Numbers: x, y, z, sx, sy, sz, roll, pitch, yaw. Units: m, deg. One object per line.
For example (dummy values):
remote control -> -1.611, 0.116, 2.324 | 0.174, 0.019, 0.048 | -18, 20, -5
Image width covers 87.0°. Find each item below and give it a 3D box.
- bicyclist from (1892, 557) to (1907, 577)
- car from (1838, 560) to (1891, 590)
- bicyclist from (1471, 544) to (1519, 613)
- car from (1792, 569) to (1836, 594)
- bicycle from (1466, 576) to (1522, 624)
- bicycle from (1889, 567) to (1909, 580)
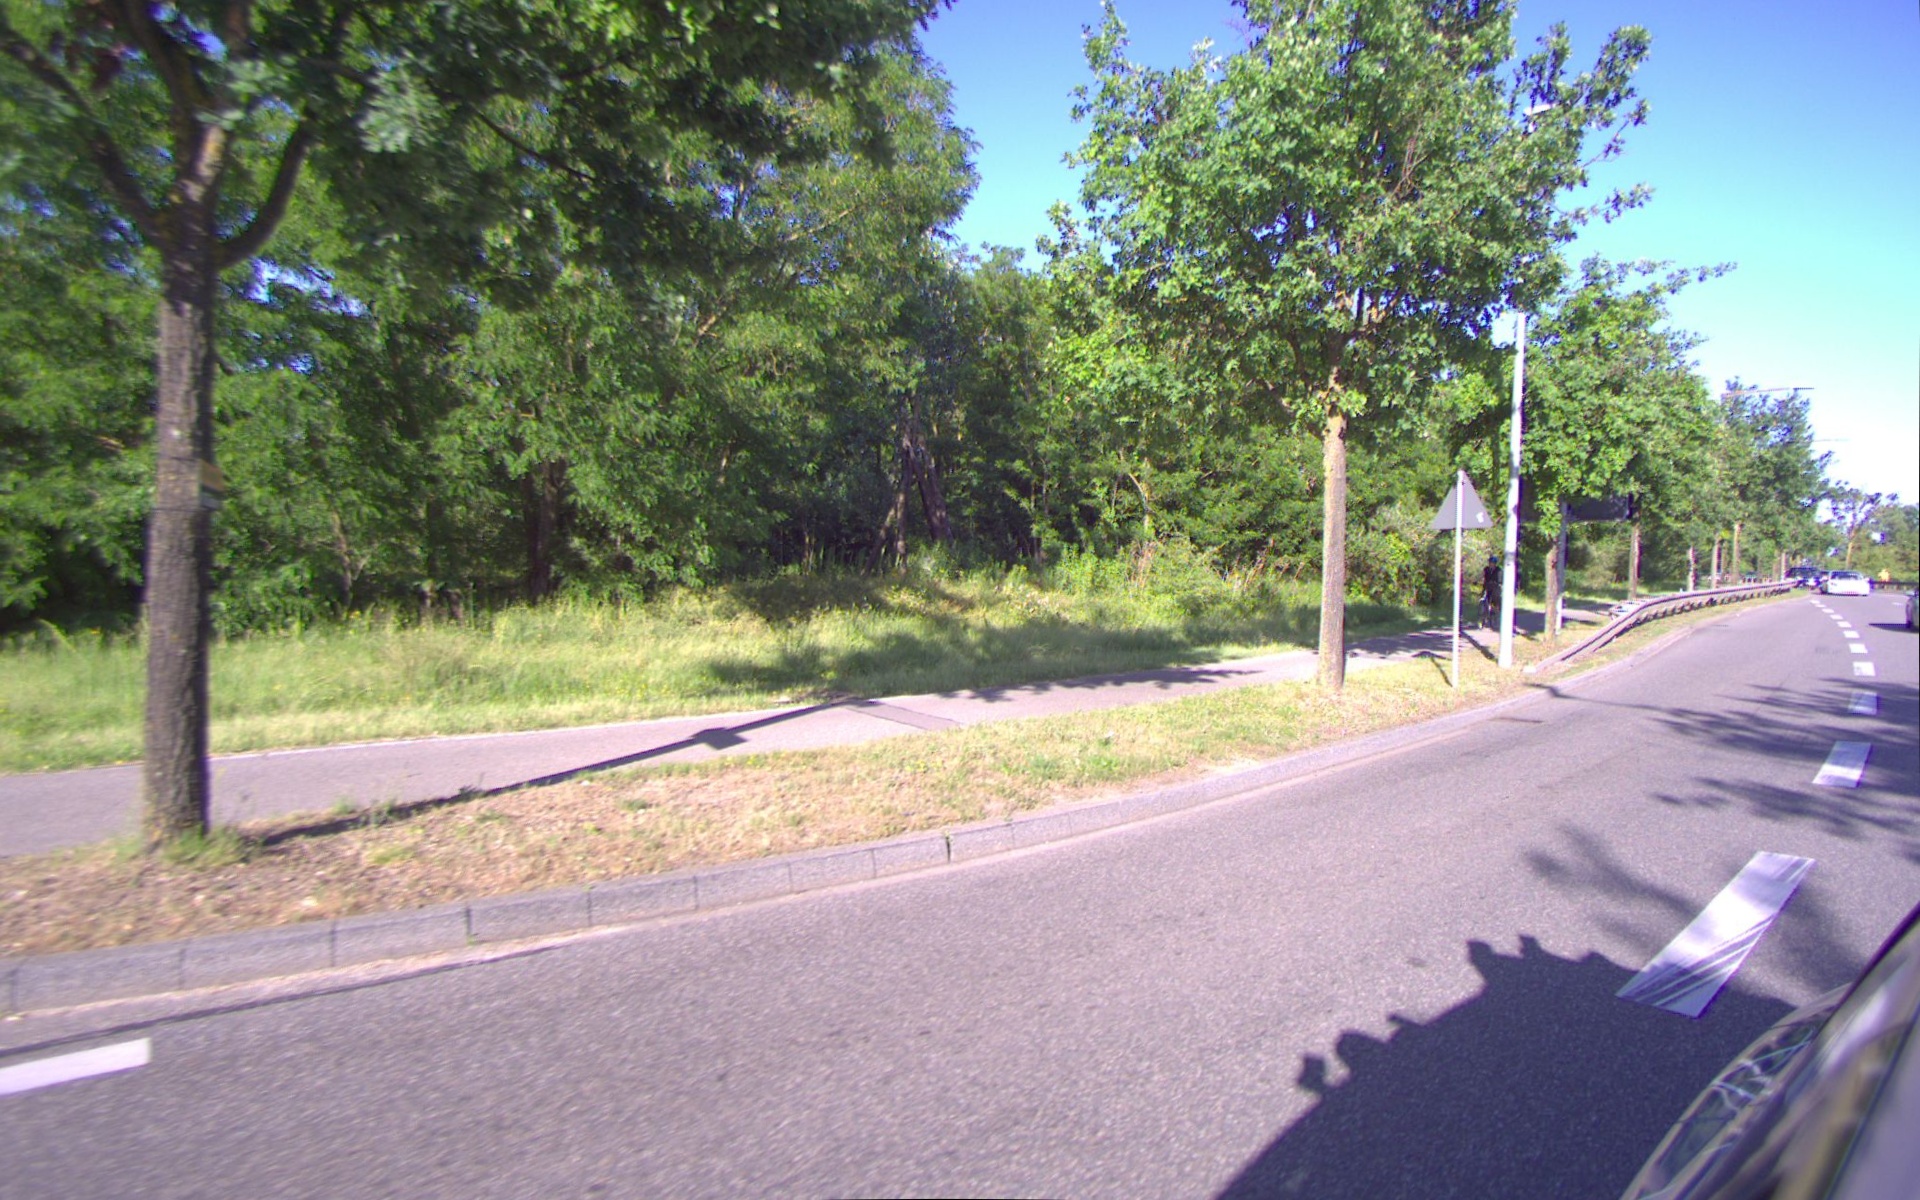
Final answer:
bicyclist -> 79.267, -2.804, 85.422 | 0.648, 1.643, 0.866 | 4, 3, 29
car -> 52.996, -1.477, 59.317 | 2.145, 1.586, 4.135 | 6, 5, 42
bicyclist -> 12.943, -0.522, 24.472 | 0.707, 1.597, 0.989 | 5, 4, 43
car -> 61.343, -1.290, 72.744 | 1.988, 1.738, 4.217 | 2, 1, 35
bicycle -> 12.951, -0.024, 24.523 | 0.701, 1.087, 1.892 | 5, 4, 42
bicycle -> 79.213, -2.248, 85.402 | 0.657, 1.108, 2.087 | 4, 4, 29
